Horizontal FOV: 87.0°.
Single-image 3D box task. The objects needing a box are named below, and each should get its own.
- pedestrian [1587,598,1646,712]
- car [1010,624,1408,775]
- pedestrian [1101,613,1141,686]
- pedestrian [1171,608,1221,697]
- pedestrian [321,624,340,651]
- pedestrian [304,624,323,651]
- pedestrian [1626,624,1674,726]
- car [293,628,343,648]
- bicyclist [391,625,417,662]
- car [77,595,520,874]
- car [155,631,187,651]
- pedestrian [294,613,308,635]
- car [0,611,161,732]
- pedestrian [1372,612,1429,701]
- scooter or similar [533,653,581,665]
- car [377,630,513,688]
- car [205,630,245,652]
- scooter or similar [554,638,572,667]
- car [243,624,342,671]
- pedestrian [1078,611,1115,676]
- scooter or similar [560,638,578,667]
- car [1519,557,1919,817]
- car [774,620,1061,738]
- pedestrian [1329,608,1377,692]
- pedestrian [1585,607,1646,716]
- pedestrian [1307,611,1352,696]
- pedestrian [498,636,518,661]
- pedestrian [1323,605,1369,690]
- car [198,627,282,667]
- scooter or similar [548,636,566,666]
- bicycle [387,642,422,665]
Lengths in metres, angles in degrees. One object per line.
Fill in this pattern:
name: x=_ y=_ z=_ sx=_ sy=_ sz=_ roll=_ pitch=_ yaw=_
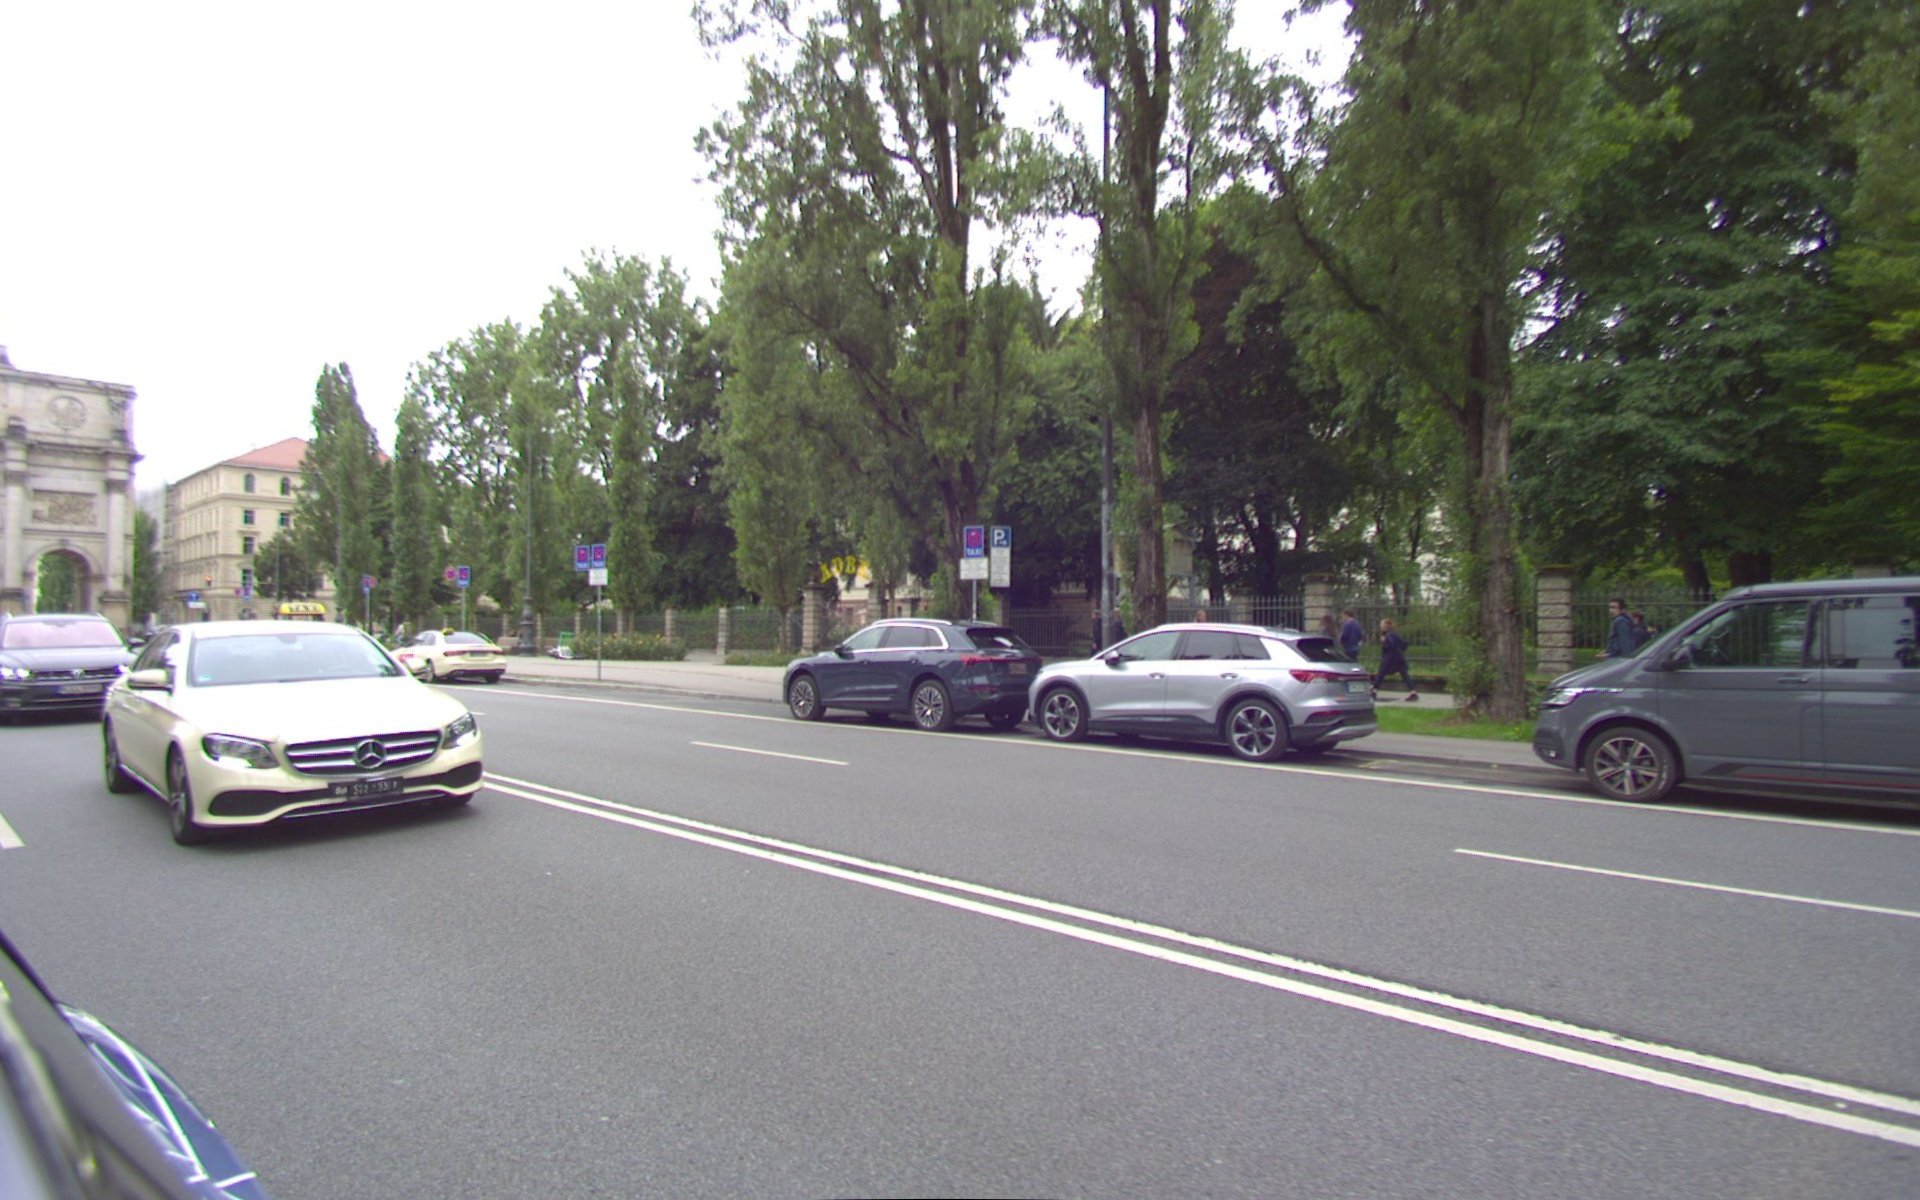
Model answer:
pedestrian: x=11.066 y=0.912 z=17.051 sx=0.723 sy=1.874 sz=0.503 roll=-2 pitch=-2 yaw=43
car: x=3.039 y=1.146 z=13.031 sx=4.652 sy=1.596 sz=1.870 roll=-2 pitch=-3 yaw=42
pedestrian: x=3.802 y=1.152 z=23.861 sx=0.704 sy=1.672 sz=0.611 roll=-2 pitch=-2 yaw=43
pedestrian: x=4.695 y=1.038 z=20.146 sx=0.786 sy=1.733 sz=0.576 roll=-2 pitch=-2 yaw=40
pedestrian: x=-39.375 y=2.329 z=63.281 sx=0.834 sy=1.691 sz=0.968 roll=2 pitch=-3 yaw=-42
pedestrian: x=-40.180 y=2.329 z=62.905 sx=0.834 sy=1.691 sz=0.968 roll=2 pitch=-3 yaw=-42
pedestrian: x=11.748 y=1.253 z=17.230 sx=0.548 sy=1.688 sz=0.579 roll=-2 pitch=-3 yaw=44
car: x=-66.982 y=3.994 z=105.600 sx=1.999 sy=2.029 sz=3.945 roll=-2 pitch=-3 yaw=41
bicyclist: x=-23.349 y=1.827 z=42.496 sx=0.861 sy=1.510 sz=0.686 roll=-2 pitch=-3 yaw=40
car: x=-5.508 y=0.804 z=8.120 sx=4.689 sy=1.587 sz=1.894 roll=-1 pitch=0 yaw=43
car: x=-68.096 y=3.533 z=87.317 sx=1.760 sy=1.684 sz=4.003 roll=2 pitch=-3 yaw=-44
pedestrian: x=-61.347 y=2.216 z=94.180 sx=0.747 sy=2.029 sz=0.793 roll=-1 pitch=-2 yaw=7
car: x=-14.332 y=1.024 z=16.022 sx=4.410 sy=1.636 sz=1.928 roll=-1 pitch=0 yaw=42
pedestrian: x=8.339 y=1.057 z=19.146 sx=0.791 sy=1.630 sz=0.701 roll=-2 pitch=-2 yaw=42
scooter or similar: x=-18.604 y=2.726 z=46.776 sx=1.314 sy=0.522 sz=2.236 roll=0 pitch=-2 yaw=1
car: x=-14.691 y=1.659 z=28.741 sx=4.790 sy=1.509 sz=1.910 roll=-3 pitch=-4 yaw=43
car: x=-65.826 y=3.635 z=90.665 sx=4.991 sy=1.869 sz=1.977 roll=-1 pitch=-3 yaw=44
scooter or similar: x=-16.872 y=2.223 z=43.020 sx=1.122 sy=1.210 sz=0.240 roll=-2 pitch=-2 yaw=42
car: x=-25.467 y=1.759 z=38.544 sx=4.963 sy=1.637 sz=1.917 roll=-1 pitch=-2 yaw=42
pedestrian: x=3.451 y=1.097 z=25.585 sx=0.704 sy=1.608 sz=0.611 roll=-2 pitch=-2 yaw=43
scooter or similar: x=-16.696 y=2.226 z=43.212 sx=1.122 sy=1.210 sz=0.240 roll=-2 pitch=-2 yaw=42
car: x=7.746 y=0.709 z=8.595 sx=4.935 sy=1.971 sz=1.972 roll=-2 pitch=-4 yaw=42
car: x=-0.793 y=1.183 z=16.044 sx=4.612 sy=1.608 sz=1.763 roll=-2 pitch=-4 yaw=42
pedestrian: x=8.326 y=1.051 z=21.467 sx=0.733 sy=1.735 sz=0.659 roll=-2 pitch=-3 yaw=43
pedestrian: x=11.657 y=1.073 z=17.994 sx=0.757 sy=1.868 sz=0.739 roll=-2 pitch=-2 yaw=42
pedestrian: x=7.501 y=1.080 z=20.554 sx=0.673 sy=1.682 sz=0.543 roll=-2 pitch=-2 yaw=43
pedestrian: x=-24.044 y=2.579 z=53.843 sx=0.832 sy=1.347 sz=0.574 roll=-1 pitch=-2 yaw=15
pedestrian: x=7.975 y=0.965 z=20.902 sx=0.723 sy=1.720 sz=0.503 roll=-2 pitch=-2 yaw=43
car: x=-30.612 y=1.978 z=42.960 sx=4.857 sy=1.571 sz=1.799 roll=-1 pitch=-4 yaw=42
scooter or similar: x=-17.052 y=2.168 z=42.822 sx=1.141 sy=1.251 sz=0.255 roll=-2 pitch=-3 yaw=43
bicycle: x=-23.309 y=2.232 z=42.446 sx=1.734 sy=0.946 sz=0.700 roll=-2 pitch=-2 yaw=41
